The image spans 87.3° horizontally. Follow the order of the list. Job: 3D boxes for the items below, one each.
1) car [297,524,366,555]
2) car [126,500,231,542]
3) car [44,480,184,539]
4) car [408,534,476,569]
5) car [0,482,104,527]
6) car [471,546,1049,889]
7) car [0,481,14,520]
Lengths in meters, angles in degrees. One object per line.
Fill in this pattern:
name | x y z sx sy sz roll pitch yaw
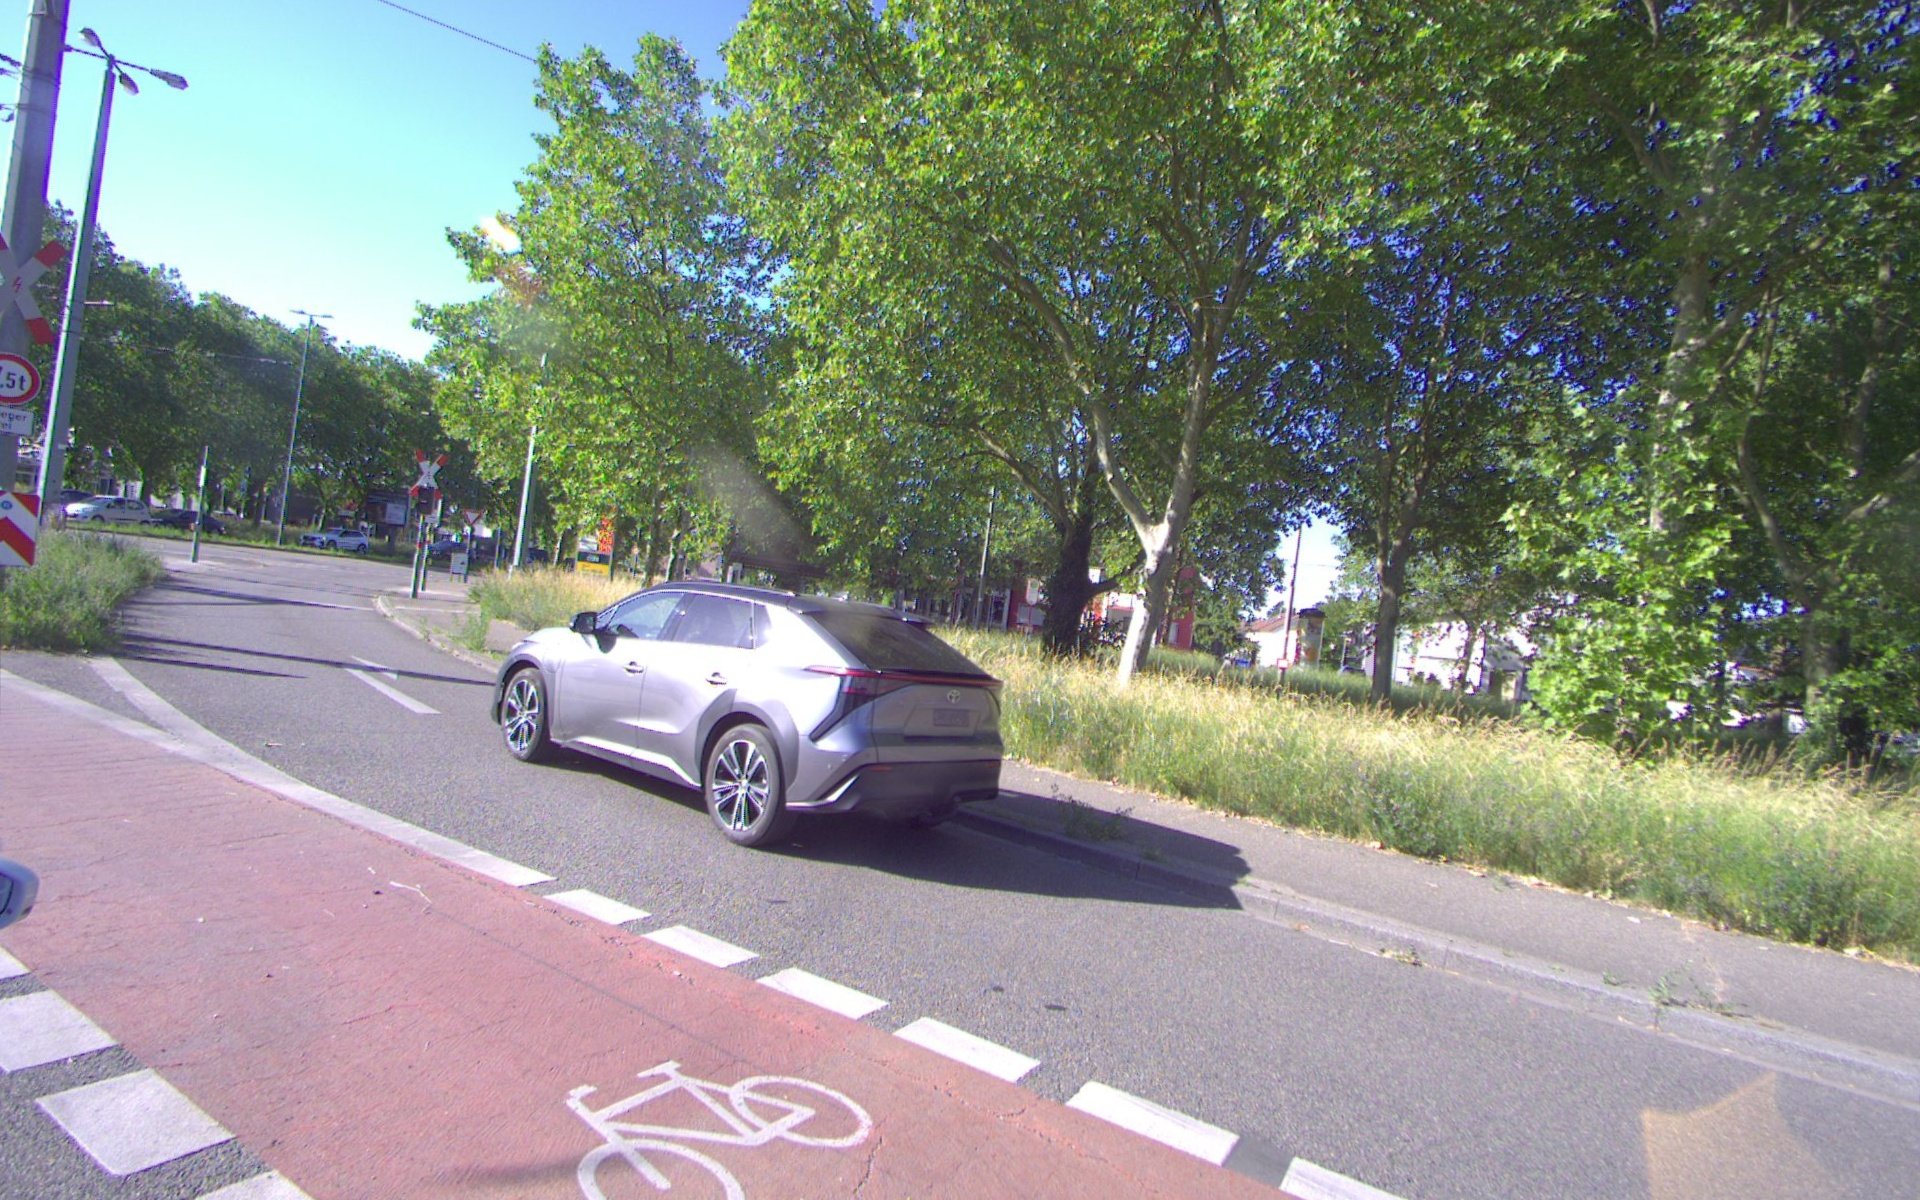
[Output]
car | -41.594 -3.964 66.637 1.563 1.519 4.003 7 -1 7
car | -42.936 -4.307 55.427 1.661 1.593 4.528 7 -1 9
car | -40.473 -4.287 48.303 1.962 2.038 4.907 7 -1 9
car | -34.832 -3.232 67.794 1.821 1.796 4.217 7 -1 7
car | -44.122 -4.599 48.848 1.462 1.589 3.758 7 -1 9
car | -1.731 0.651 7.640 4.432 1.651 1.764 7 0 40
car | -41.048 -4.322 40.579 1.575 1.549 4.002 7 0 9
